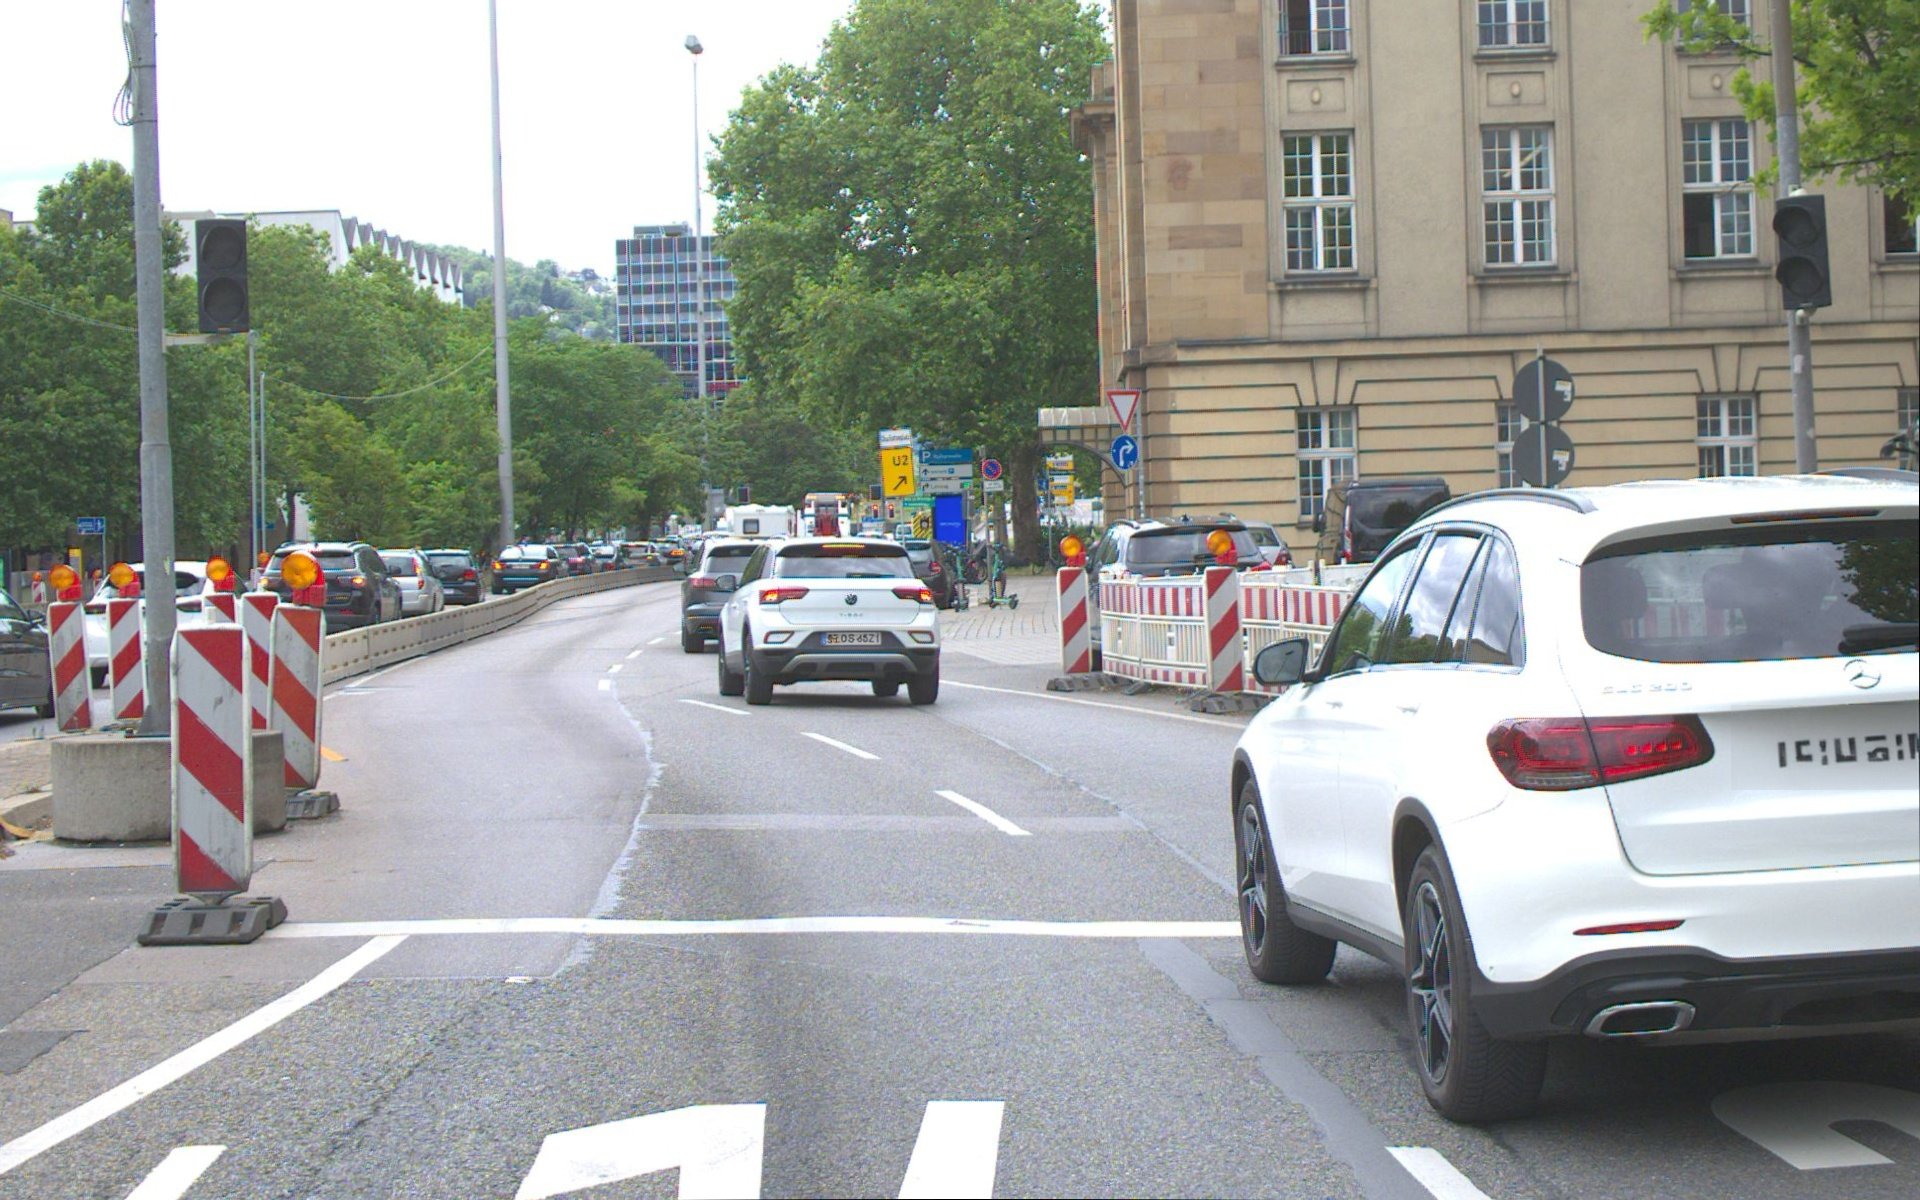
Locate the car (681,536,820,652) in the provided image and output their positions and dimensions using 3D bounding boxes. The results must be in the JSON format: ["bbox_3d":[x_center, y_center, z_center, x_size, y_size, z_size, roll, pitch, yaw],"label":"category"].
[{"bbox_3d":[-3.145,-0.131,50.859,1.823,1.562,4.481,1,1,-6],"label":"car"}]

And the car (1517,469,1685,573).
[{"bbox_3d":[10.271,-1.244,55.384,1.856,1.562,4.331,-1,0,0],"label":"car"}]

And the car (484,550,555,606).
[{"bbox_3d":[-13.022,-0.667,101.797,1.750,1.562,4.332,-2,1,-3],"label":"car"}]

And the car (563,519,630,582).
[{"bbox_3d":[-12.798,-1.769,121.303,1.993,2.006,4.001,-2,3,-2],"label":"car"}]

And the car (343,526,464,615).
[{"bbox_3d":[-10.431,-0.567,64.687,1.750,1.562,4.332,-2,1,-3],"label":"car"}]

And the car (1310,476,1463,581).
[{"bbox_3d":[6.760,-1.109,54.889,1.856,1.562,4.331,-1,0,0],"label":"car"}]

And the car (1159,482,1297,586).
[{"bbox_3d":[4.295,-1.039,55.605,1.856,1.562,4.331,-1,0,0],"label":"car"}]

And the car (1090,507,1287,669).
[{"bbox_3d":[2.345,-0.136,36.263,1.750,1.562,4.331,-1,0,0],"label":"car"}]

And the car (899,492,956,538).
[{"bbox_3d":[-1.740,-4.673,187.657,2.582,2.366,5.526,-2,1,4],"label":"car"}]

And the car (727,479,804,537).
[{"bbox_3d":[-8.385,-3.987,148.796,2.582,2.366,5.526,-2,1,4],"label":"car"}]

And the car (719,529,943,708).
[{"bbox_3d":[-1.309,0.138,33.112,1.750,1.562,4.332,-2,1,-7],"label":"car"}]

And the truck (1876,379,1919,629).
[{"bbox_3d":[16.690,-1.333,42.340,10.029,3.040,2.569,-2,0,1],"label":"truck"}]

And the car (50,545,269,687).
[{"bbox_3d":[-9.504,0.155,41.060,1.750,1.562,3.377,-1,1,1],"label":"car"}]

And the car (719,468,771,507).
[{"bbox_3d":[-13.810,-7.197,221.115,2.582,2.366,5.526,-2,1,4],"label":"car"}]

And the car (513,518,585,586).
[{"bbox_3d":[-13.273,-1.585,111.273,1.993,2.006,4.001,-2,3,-3],"label":"car"}]

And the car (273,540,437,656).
[{"bbox_3d":[-9.141,-0.058,52.157,1.750,1.562,3.377,-4,1,1],"label":"car"}]

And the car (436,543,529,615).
[{"bbox_3d":[-10.992,-0.498,79.367,1.750,1.562,4.332,-2,1,-3],"label":"car"}]

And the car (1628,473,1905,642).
[{"bbox_3d":[8.071,-0.416,34.787,1.750,1.562,4.331,-1,0,0],"label":"car"}]

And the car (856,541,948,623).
[{"bbox_3d":[-1.180,-0.407,71.110,1.823,1.562,4.480,1,2,0],"label":"car"}]

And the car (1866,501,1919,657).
[{"bbox_3d":[10.524,-0.230,34.175,1.856,1.562,4.331,-1,0,0],"label":"car"}]

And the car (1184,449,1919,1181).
[{"bbox_3d":[1.946,0.428,10.315,1.811,1.637,4.553,-4,1,-4],"label":"car"}]

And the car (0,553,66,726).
[{"bbox_3d":[-9.568,0.372,31.405,1.750,1.562,4.332,-2,1,-2],"label":"car"}]

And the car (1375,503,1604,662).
[{"bbox_3d":[5.606,-0.191,36.878,1.750,1.562,4.331,-1,0,0],"label":"car"}]
